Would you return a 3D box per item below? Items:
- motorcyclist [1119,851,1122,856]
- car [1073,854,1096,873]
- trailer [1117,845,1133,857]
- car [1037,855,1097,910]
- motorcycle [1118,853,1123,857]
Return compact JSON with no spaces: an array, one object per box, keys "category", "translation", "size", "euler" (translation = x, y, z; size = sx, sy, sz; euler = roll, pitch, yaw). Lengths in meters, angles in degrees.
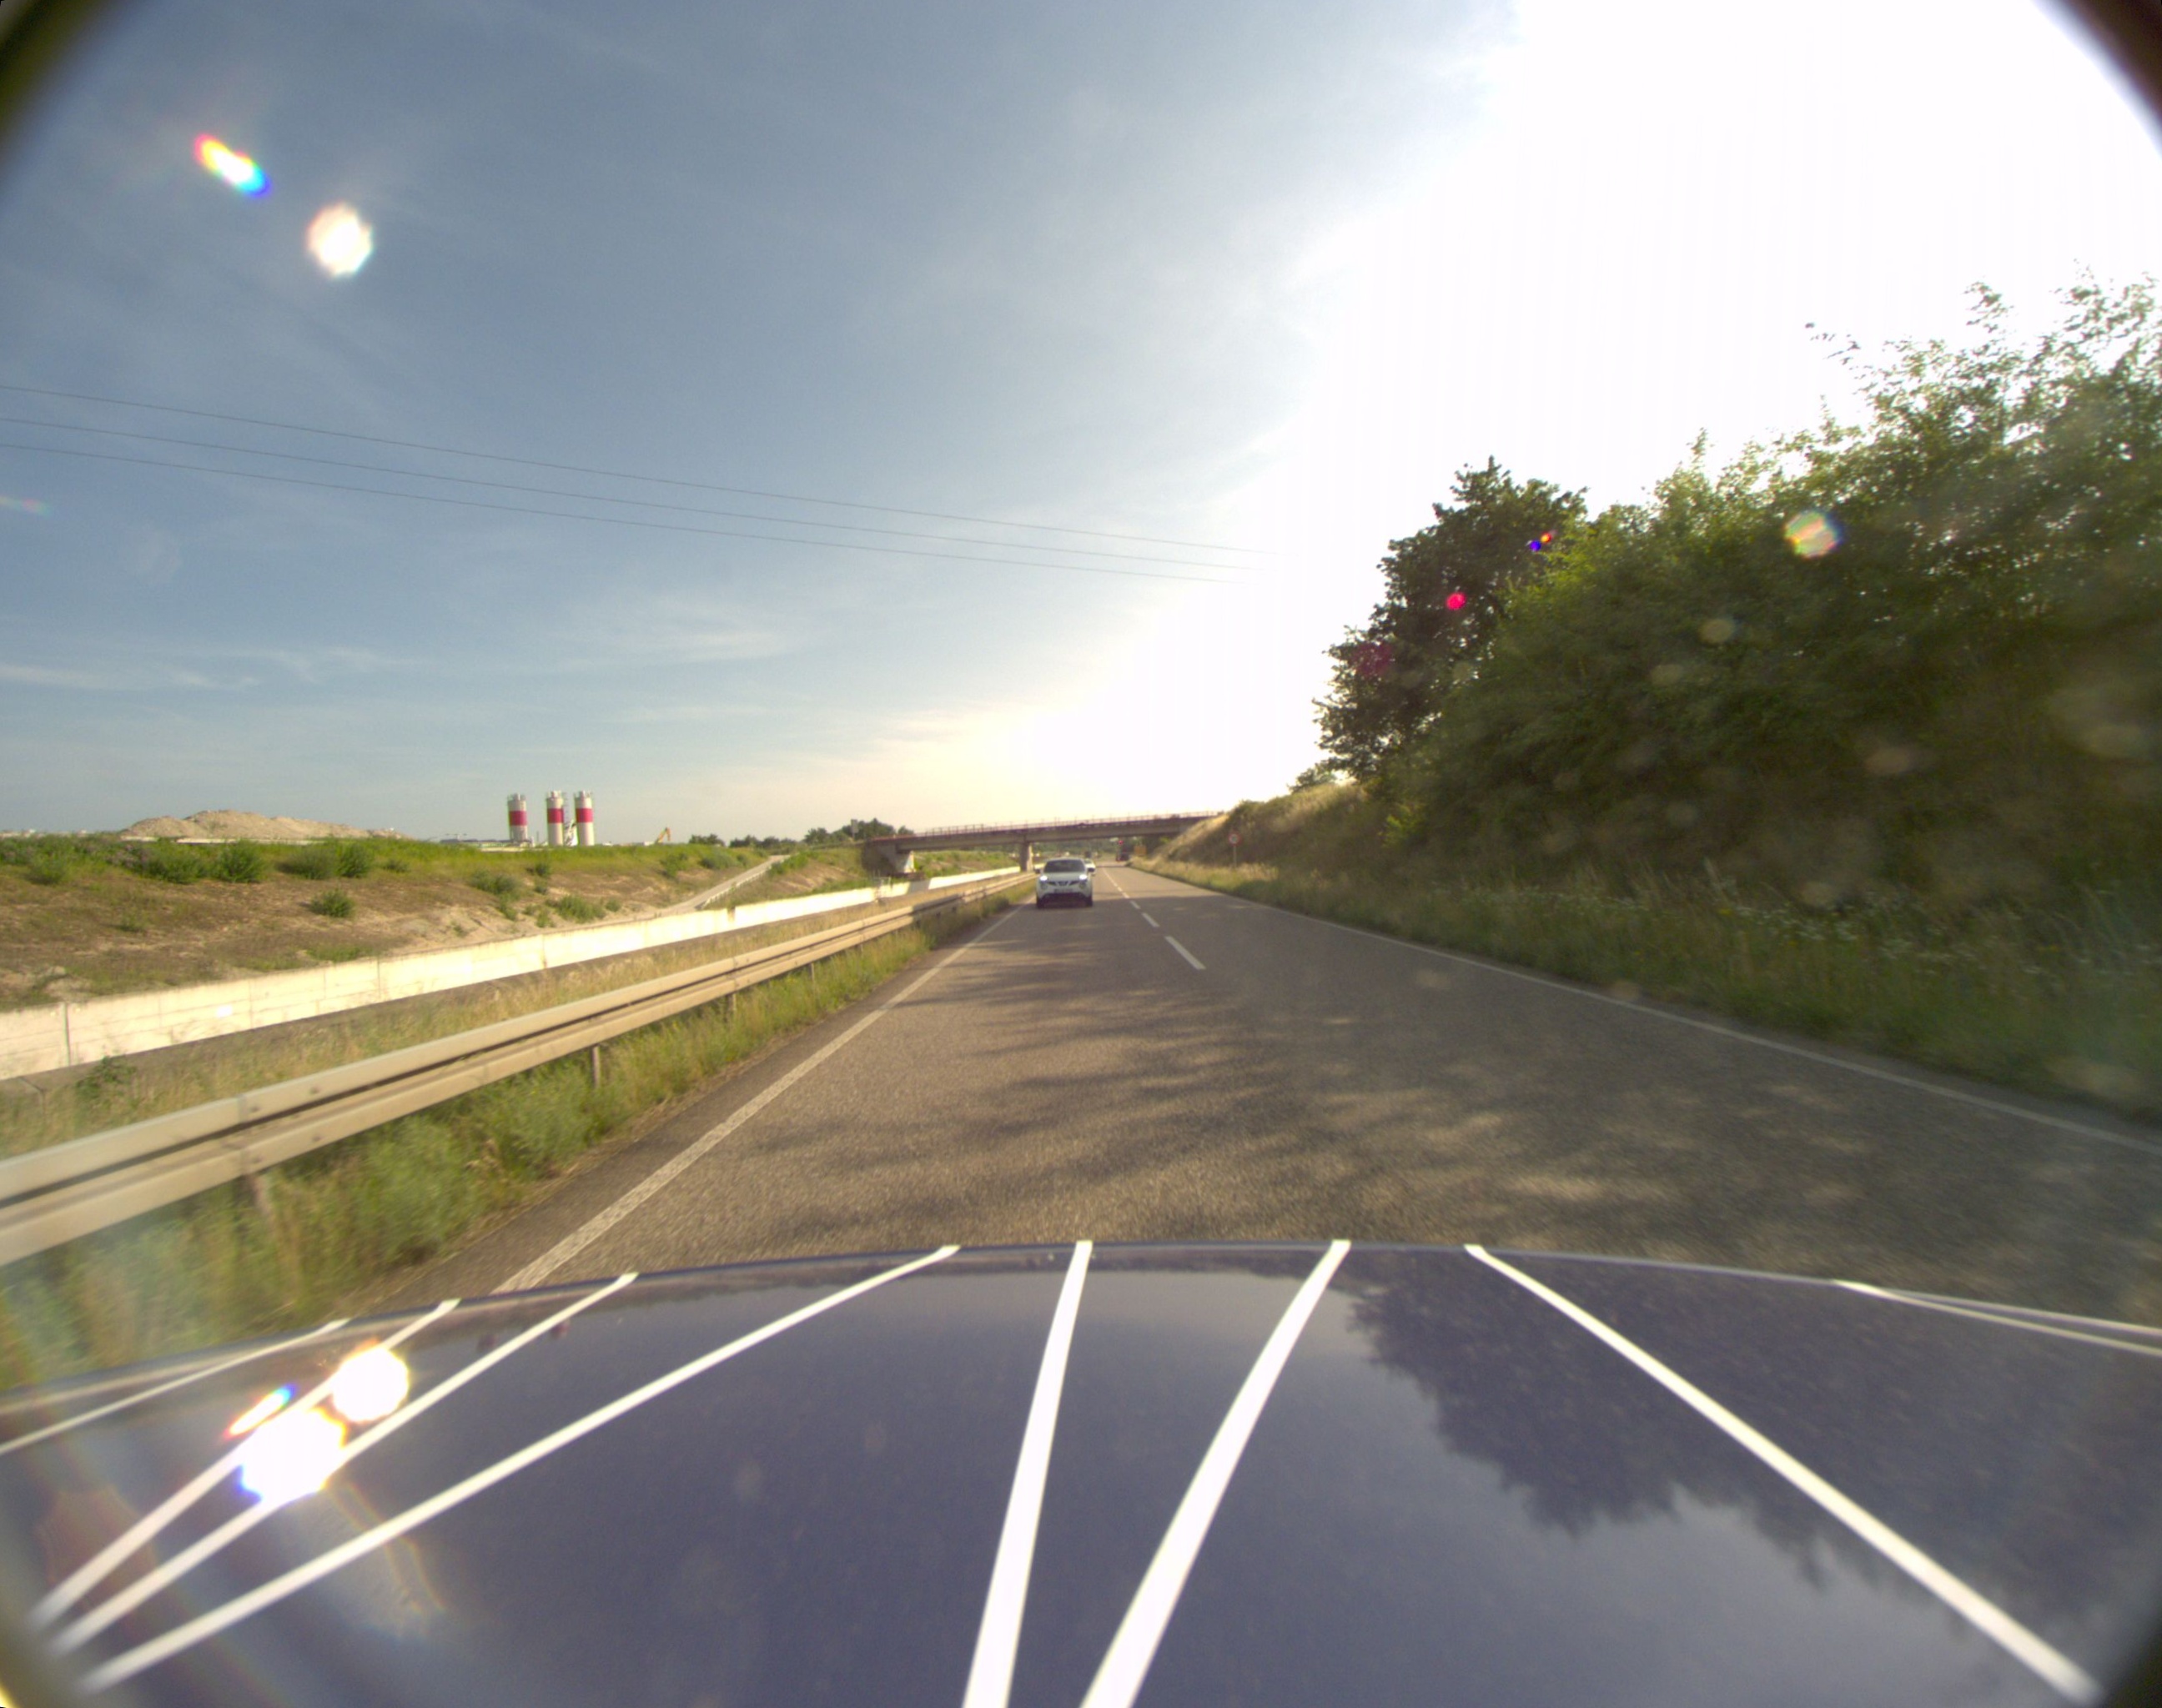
[{"category":"motorcyclist","translation":[10.546,-0.111,203.679],"size":[0.881,1.443,1.284],"euler":[-1,1,0]},{"category":"car","translation":[0.338,0.845,66.990],"size":[1.908,1.512,4.465],"euler":[-2,0,1]},{"category":"trailer","translation":[15.483,-1.076,265.736],"size":[3.558,4.089,13.793],"euler":[-3,0,-4]},{"category":"car","translation":[-0.488,0.877,25.461],"size":[1.789,1.593,4.571],"euler":[-2,0,-2]},{"category":"motorcycle","translation":[10.572,0.317,203.711],"size":[1.044,1.111,2.132],"euler":[-1,0,0]}]
